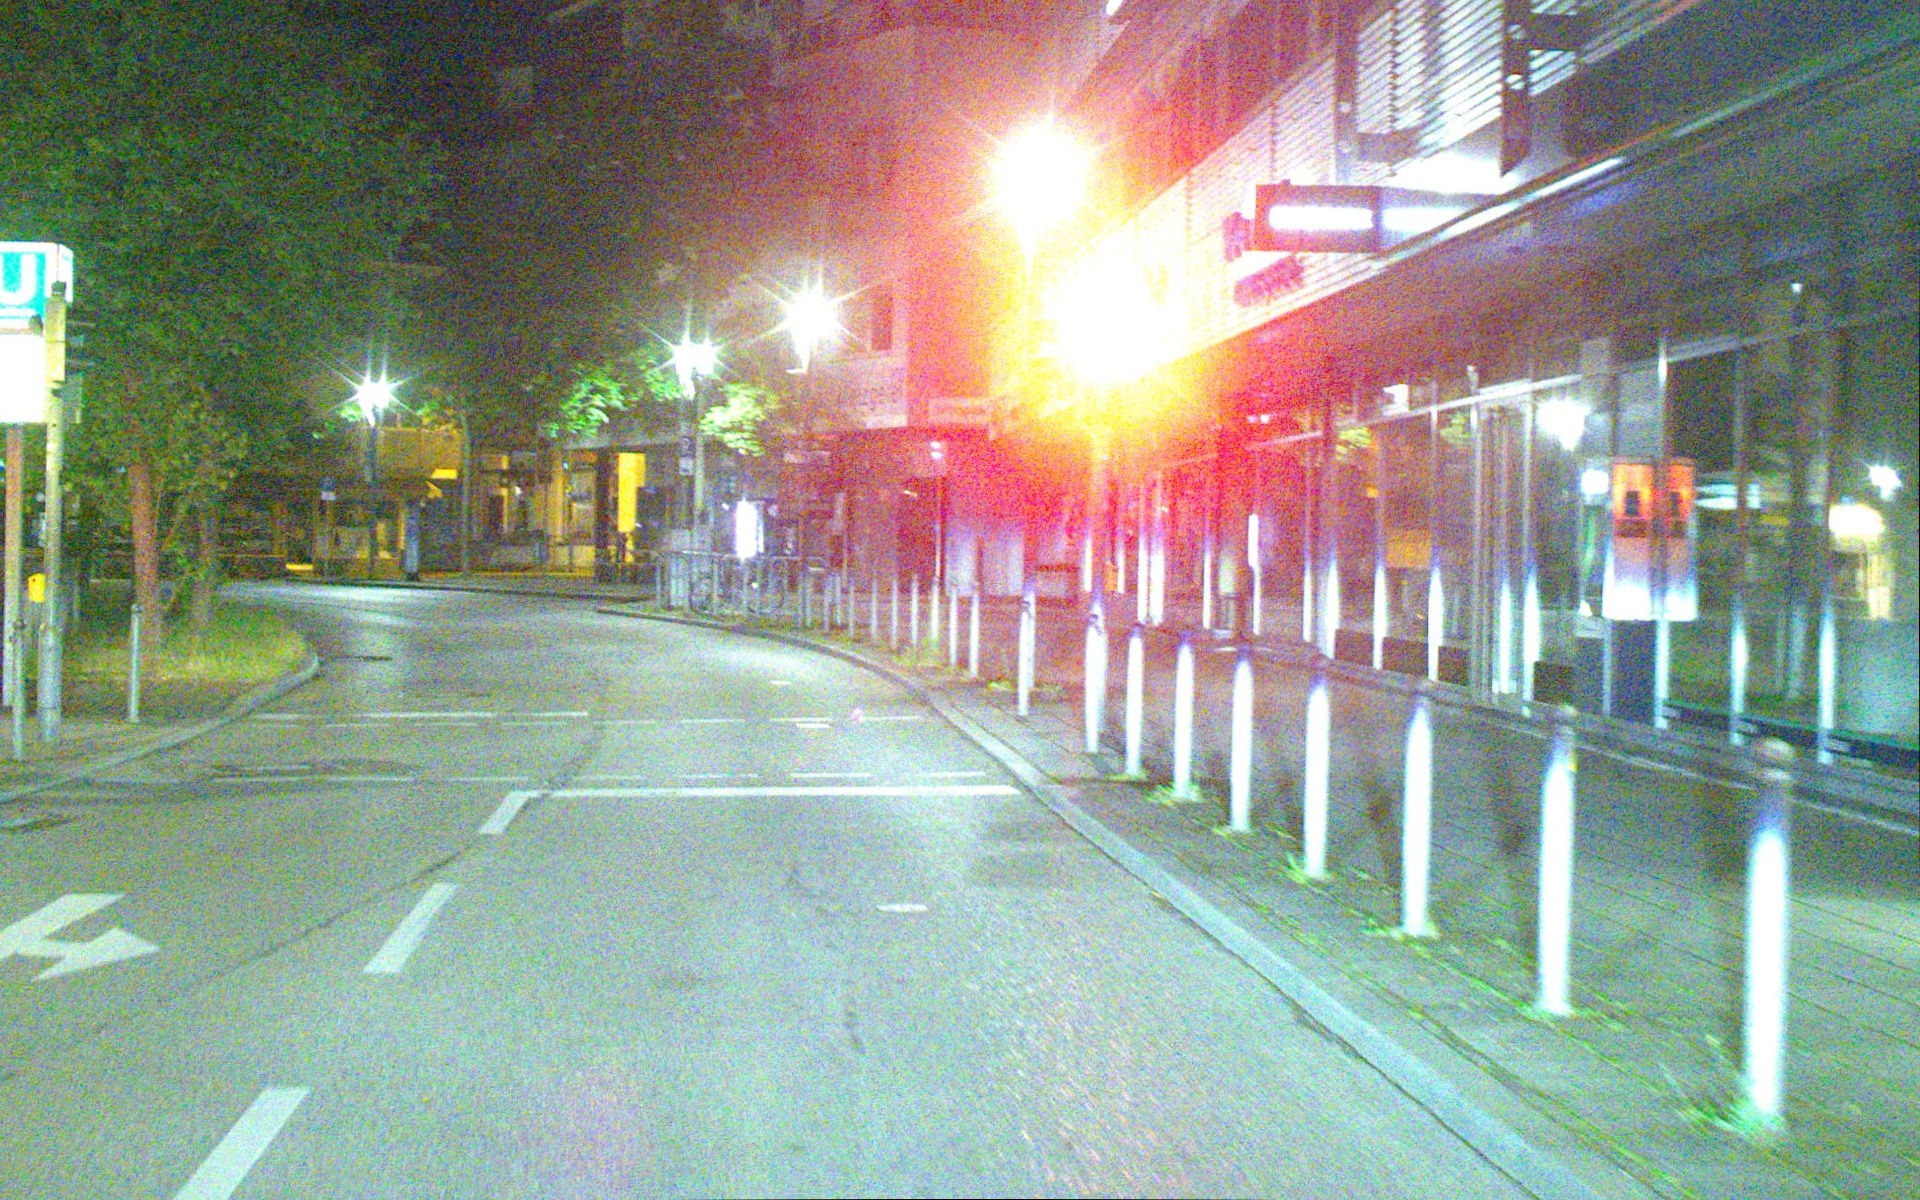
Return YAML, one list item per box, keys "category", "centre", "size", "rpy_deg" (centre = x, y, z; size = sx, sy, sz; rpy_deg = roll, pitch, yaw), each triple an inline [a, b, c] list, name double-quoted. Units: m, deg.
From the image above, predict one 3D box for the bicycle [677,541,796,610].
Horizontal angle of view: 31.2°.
- category: "bicycle"
  centre: [-3.514, -0.380, 54.111]
  size: [1.749, 1.059, 0.656]
  rpy_deg: [0, 2, -28]

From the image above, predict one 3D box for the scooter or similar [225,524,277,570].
- category: "scooter or similar"
  centre: [-19.765, -1.480, 95.807]
  size: [1.246, 1.223, 0.598]
  rpy_deg: [1, 1, -31]
